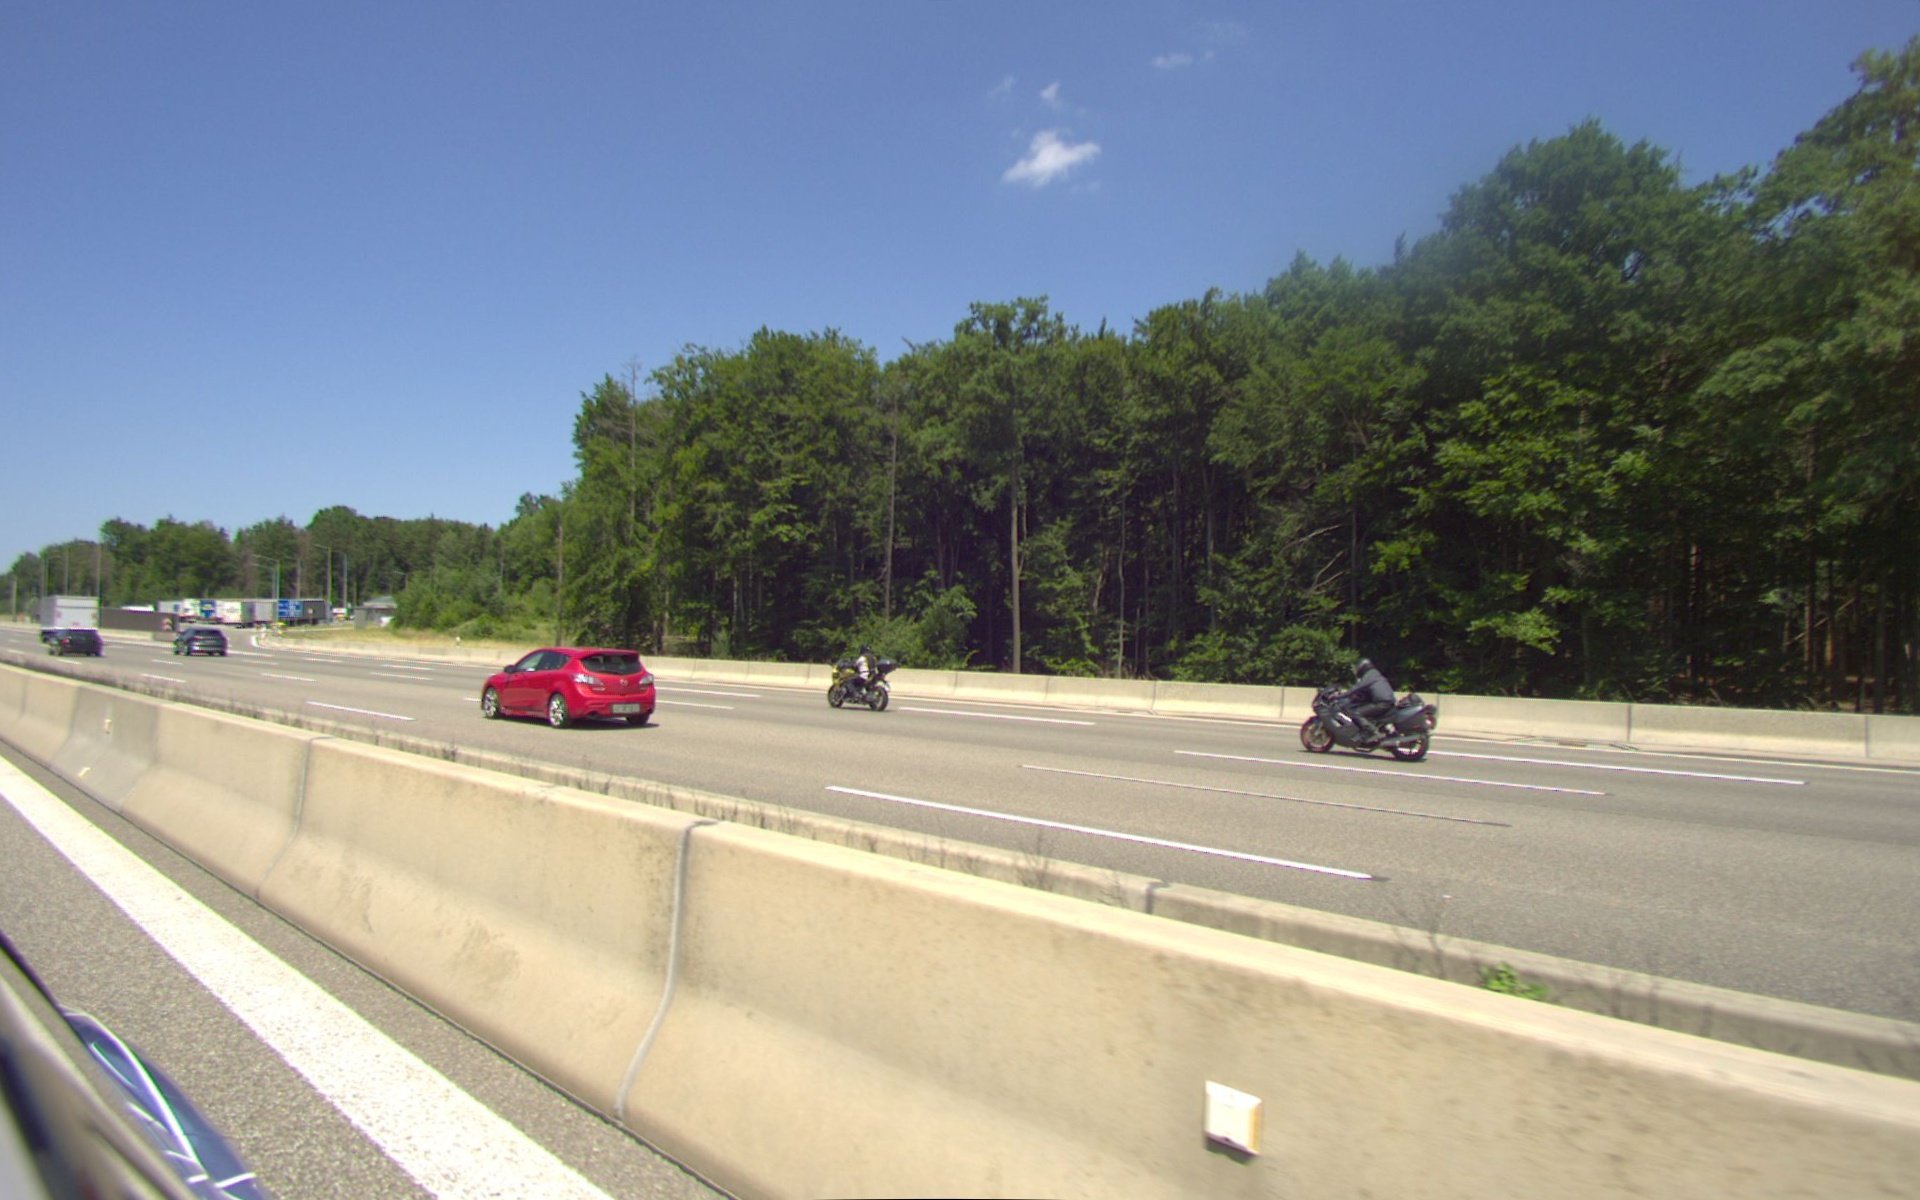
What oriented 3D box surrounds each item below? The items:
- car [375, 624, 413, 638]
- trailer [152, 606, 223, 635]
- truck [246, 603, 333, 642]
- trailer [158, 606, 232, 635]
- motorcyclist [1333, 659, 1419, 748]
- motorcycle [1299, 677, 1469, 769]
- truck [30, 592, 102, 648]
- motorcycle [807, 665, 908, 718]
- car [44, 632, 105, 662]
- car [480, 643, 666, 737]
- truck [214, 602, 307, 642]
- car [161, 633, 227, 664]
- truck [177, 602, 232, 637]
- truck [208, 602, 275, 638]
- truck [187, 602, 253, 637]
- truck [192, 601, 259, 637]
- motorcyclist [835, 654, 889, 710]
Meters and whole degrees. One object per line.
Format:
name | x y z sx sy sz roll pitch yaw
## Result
car | -83.457 4.612 149.330 4.663 2.029 2.091 2 -2 -35
trailer | -146.402 3.972 192.113 3.082 5.111 14.580 1 -2 -5
truck | -101.719 3.486 154.156 3.175 5.655 16.725 1 -2 -4
trailer | -138.688 3.823 183.843 3.175 5.111 14.580 1 -2 -5
motorcyclist | 6.548 1.600 15.931 1.077 1.311 0.752 -1 -3 41
motorcycle | 6.604 1.880 15.854 2.348 1.223 0.730 -1 -3 41
truck | -68.714 1.564 77.719 9.463 4.043 2.828 -1 -3 41
motorcycle | -2.529 2.194 24.664 2.755 1.150 0.769 -1 -3 41
car | -45.666 2.414 52.162 4.610 1.438 1.685 -1 -3 41
car | -7.334 1.608 18.995 4.029 1.523 1.555 -1 -4 42
truck | -105.171 3.347 152.666 3.399 5.655 16.725 1 -2 -4
car | -44.244 2.773 58.407 5.186 1.687 2.025 -1 -3 42
truck | -127.297 3.293 170.683 3.179 5.655 8.497 1 -2 -5
truck | -116.517 3.285 164.330 3.317 5.655 11.549 1 -2 -5
truck | -123.818 3.323 169.591 3.179 5.655 11.549 1 -2 -5
truck | -119.957 3.256 165.637 3.179 5.655 11.549 1 -2 -5
motorcyclist | -2.382 1.973 24.610 1.077 1.311 0.761 -1 -3 41
